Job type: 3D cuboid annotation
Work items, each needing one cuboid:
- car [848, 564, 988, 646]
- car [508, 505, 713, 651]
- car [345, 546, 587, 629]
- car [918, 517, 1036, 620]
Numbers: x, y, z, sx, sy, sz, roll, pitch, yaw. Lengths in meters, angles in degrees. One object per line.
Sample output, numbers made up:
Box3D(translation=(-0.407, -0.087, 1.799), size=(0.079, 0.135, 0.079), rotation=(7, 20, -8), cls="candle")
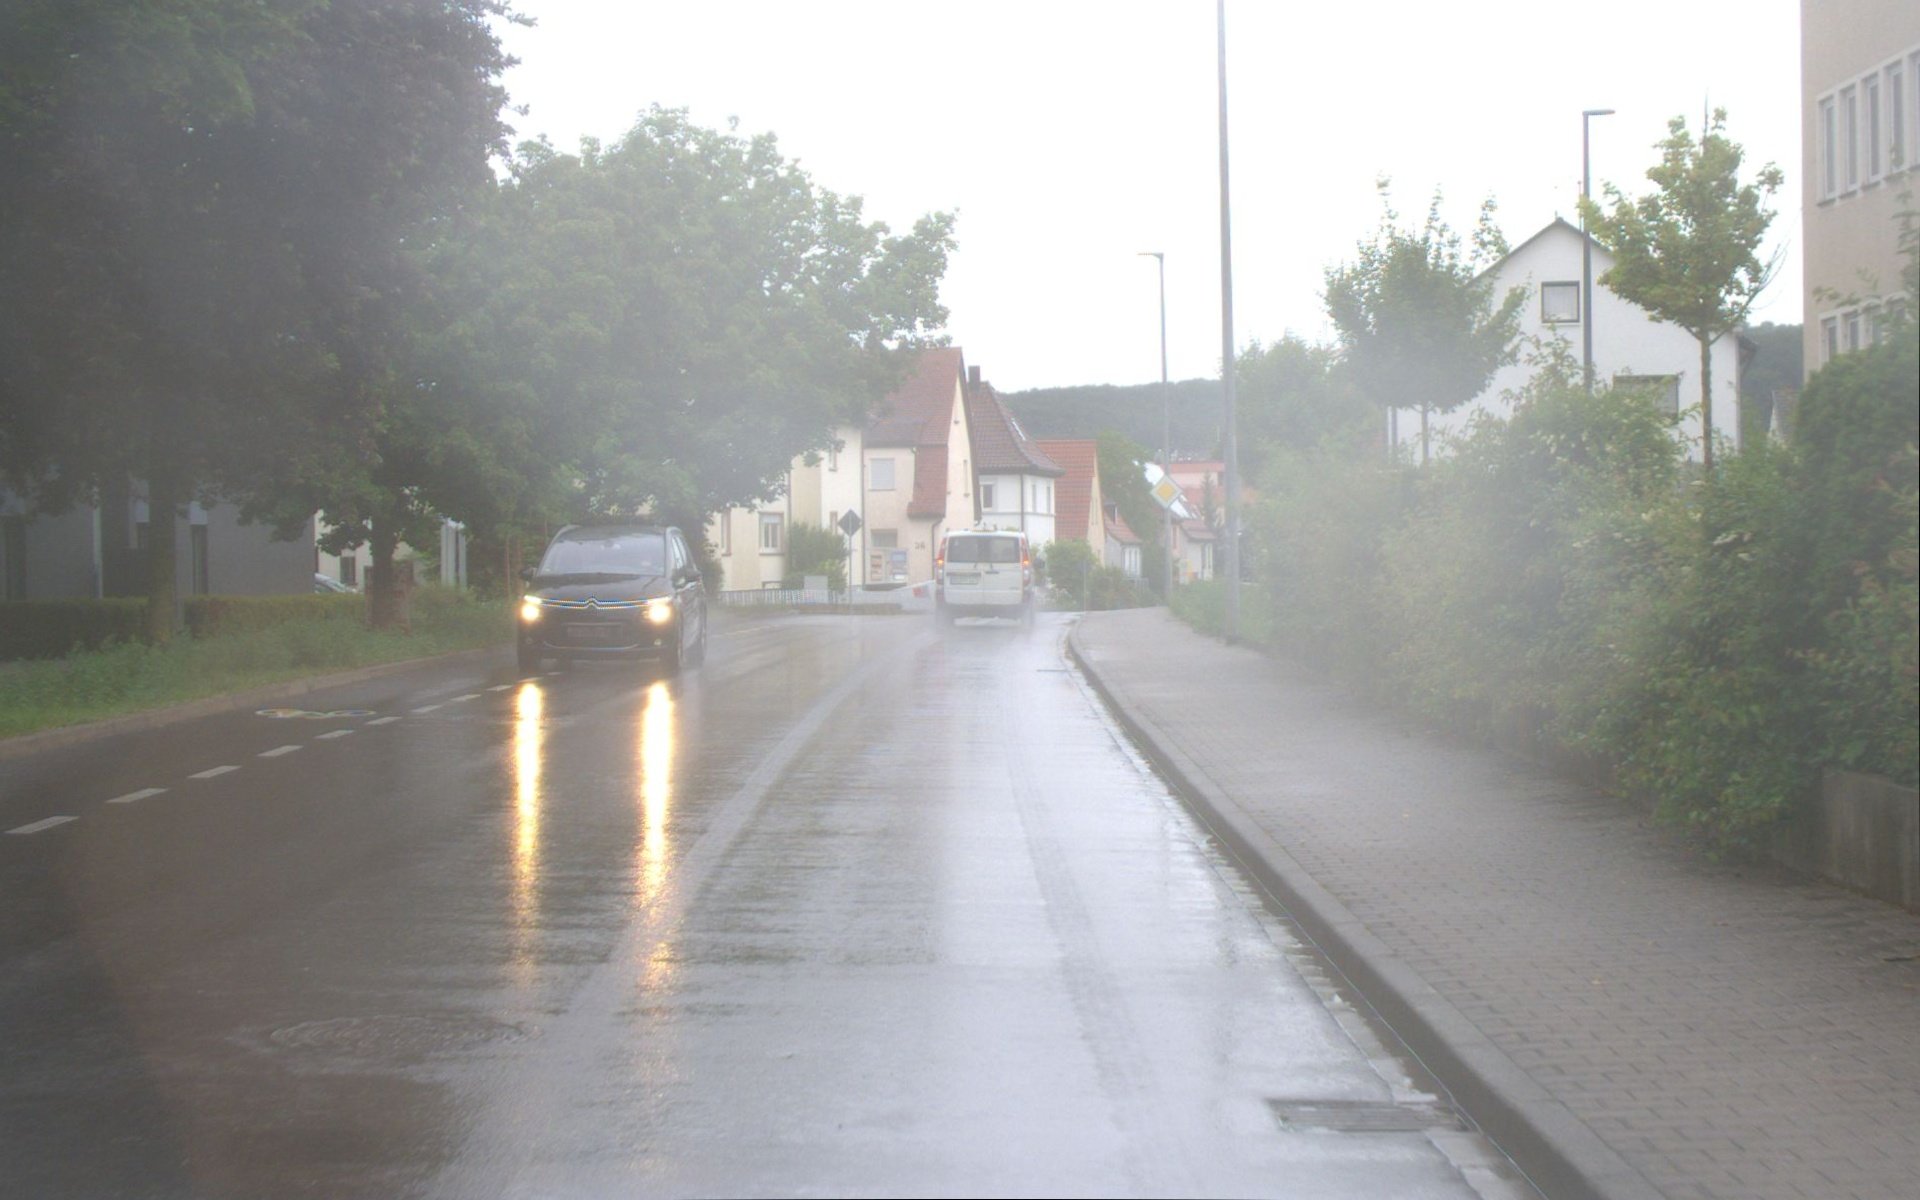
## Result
Box3D(translation=(-1.530, 0.173, 125.928), size=(4.555, 2.006, 2.159), rotation=(-12, 0, 8), cls="car")
Box3D(translation=(-3.966, -0.302, 39.645), size=(1.850, 1.549, 4.502), rotation=(0, 2, 1), cls="car")
Box3D(translation=(-8.564, -0.216, 59.772), size=(3.900, 1.280, 1.582), rotation=(-2, 0, 2), cls="car")
Box3D(translation=(0.294, -0.647, 66.638), size=(2.117, 1.881, 4.503), rotation=(0, 2, -2), cls="car")
